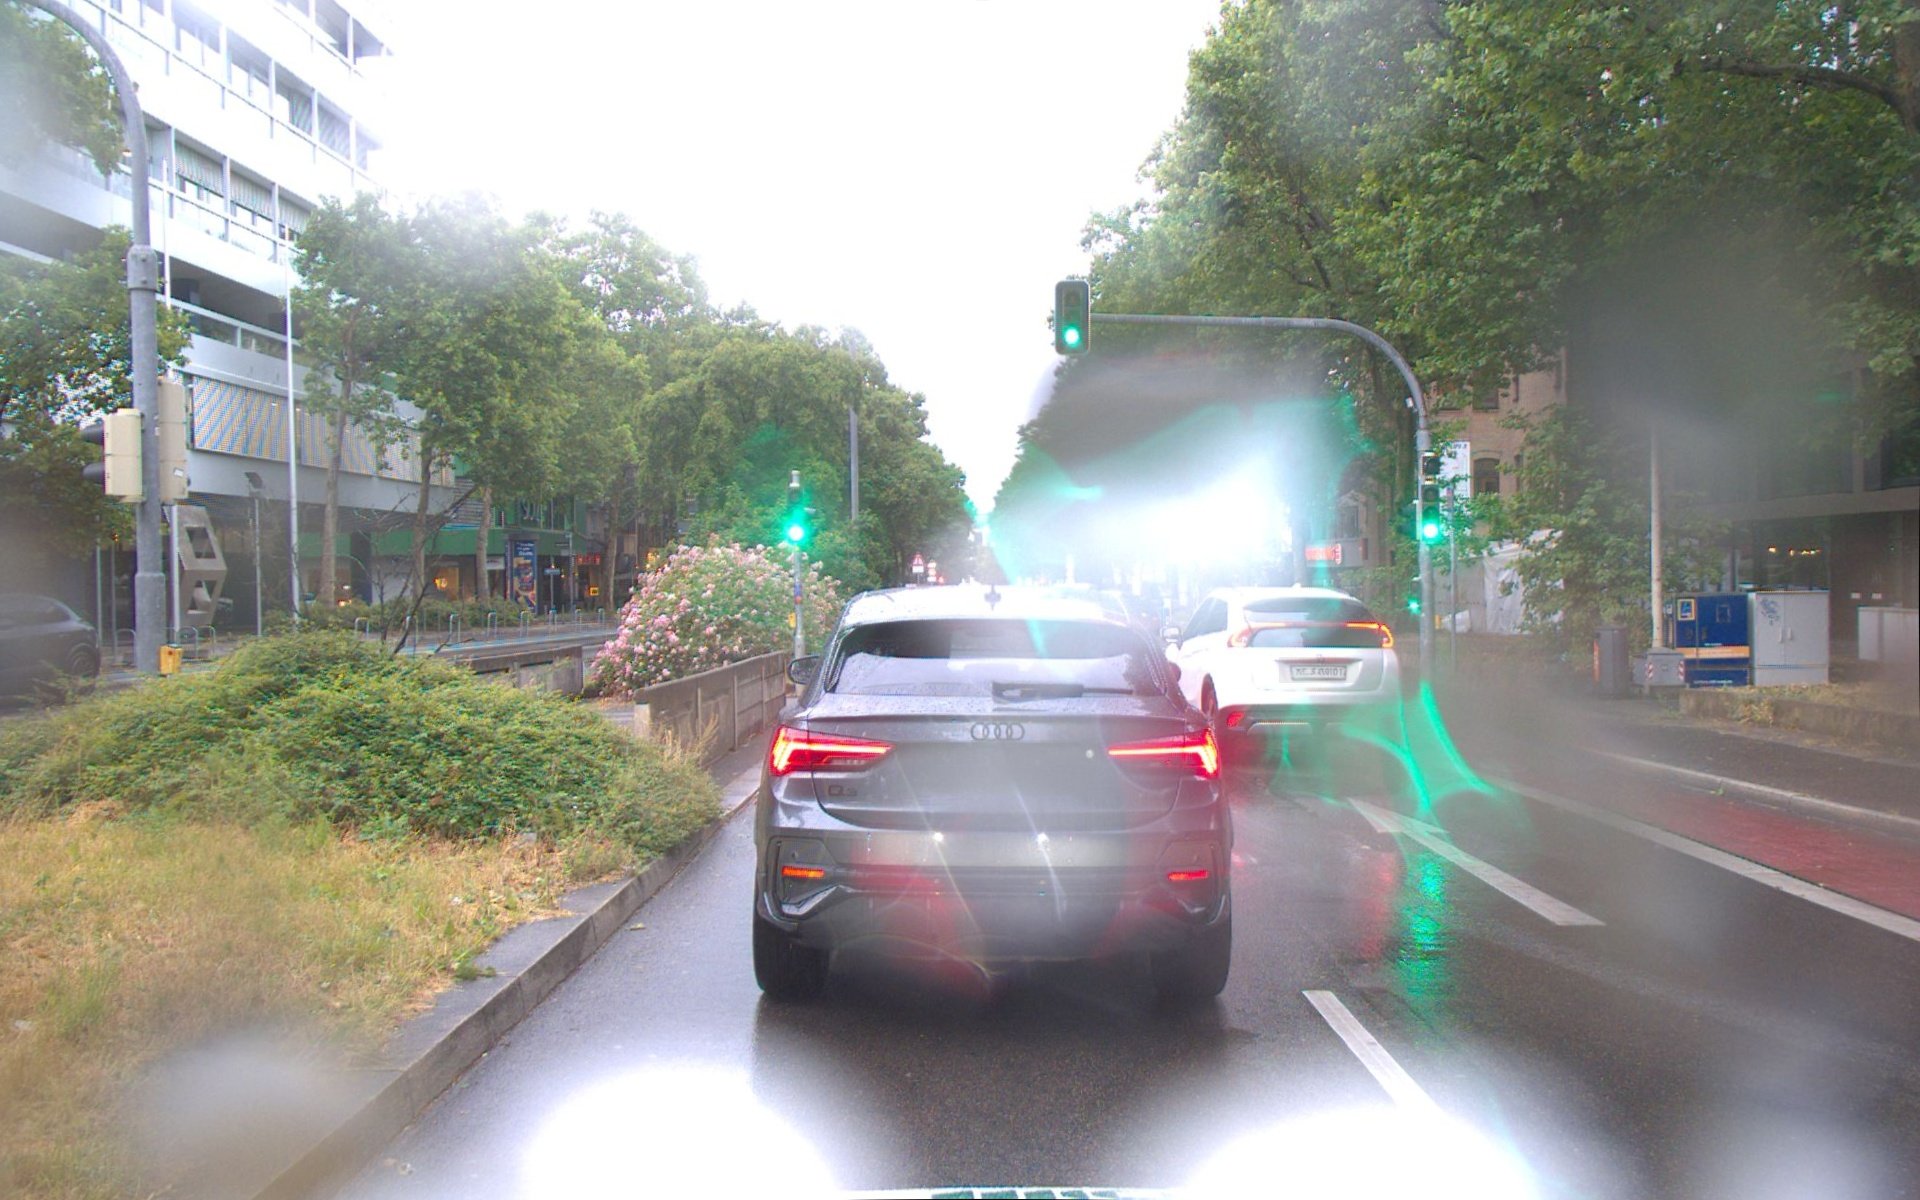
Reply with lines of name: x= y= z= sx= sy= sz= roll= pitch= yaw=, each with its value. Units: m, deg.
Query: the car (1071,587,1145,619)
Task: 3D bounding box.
car: x=9.764 y=0.204 z=109.246 sx=4.519 sy=2.049 sz=1.959 roll=1 pitch=-1 yaw=39

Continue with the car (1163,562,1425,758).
car: x=3.240 y=0.554 z=16.830 sx=1.839 sy=1.727 sz=4.000 roll=1 pitch=-1 yaw=0

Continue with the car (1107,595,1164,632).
car: x=7.239 y=0.560 z=68.482 sx=1.835 sy=1.446 sz=4.611 roll=1 pitch=0 yaw=0

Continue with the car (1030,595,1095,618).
car: x=7.921 y=0.510 z=127.551 sx=4.549 sy=1.736 sz=1.997 roll=1 pitch=-1 yaw=28

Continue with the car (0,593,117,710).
car: x=-14.073 y=0.695 z=23.127 sx=1.869 sy=1.612 sz=4.748 roll=1 pitch=0 yaw=4

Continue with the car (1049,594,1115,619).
car: x=9.135 y=0.474 z=123.942 sx=4.549 sy=1.736 sz=1.997 roll=1 pitch=-1 yaw=28

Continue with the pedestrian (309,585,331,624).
pedestrian: x=-24.741 y=0.180 z=63.940 sx=0.597 sy=1.508 sz=0.574 roll=1 pitch=-1 yaw=-3

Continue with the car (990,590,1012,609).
car: x=3.717 y=-0.064 z=151.119 sx=1.952 sy=1.680 sz=4.000 roll=1 pitch=-1 yaw=0

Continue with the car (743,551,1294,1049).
car: x=0.166 y=0.656 z=7.439 sx=1.812 sy=1.630 sz=3.999 roll=0 pitch=0 yaw=-1

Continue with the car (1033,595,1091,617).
car: x=8.689 y=0.525 z=140.727 sx=4.549 sy=1.736 sz=1.997 roll=1 pitch=-1 yaw=28

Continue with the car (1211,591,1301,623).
car: x=10.558 y=0.258 z=58.948 sx=2.831 sy=1.093 sz=1.452 roll=1 pitch=-1 yaw=31

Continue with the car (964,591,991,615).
car: x=1.322 y=0.218 z=125.859 sx=1.953 sy=1.757 sz=3.999 roll=1 pitch=-1 yaw=-1

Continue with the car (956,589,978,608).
car: x=0.625 y=-0.100 z=149.089 sx=1.857 sy=1.627 sz=3.938 roll=1 pitch=-1 yaw=-1

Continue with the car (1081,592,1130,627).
car: x=6.962 y=0.448 z=79.290 sx=1.693 sy=1.599 sz=4.070 roll=1 pitch=0 yaw=-4
